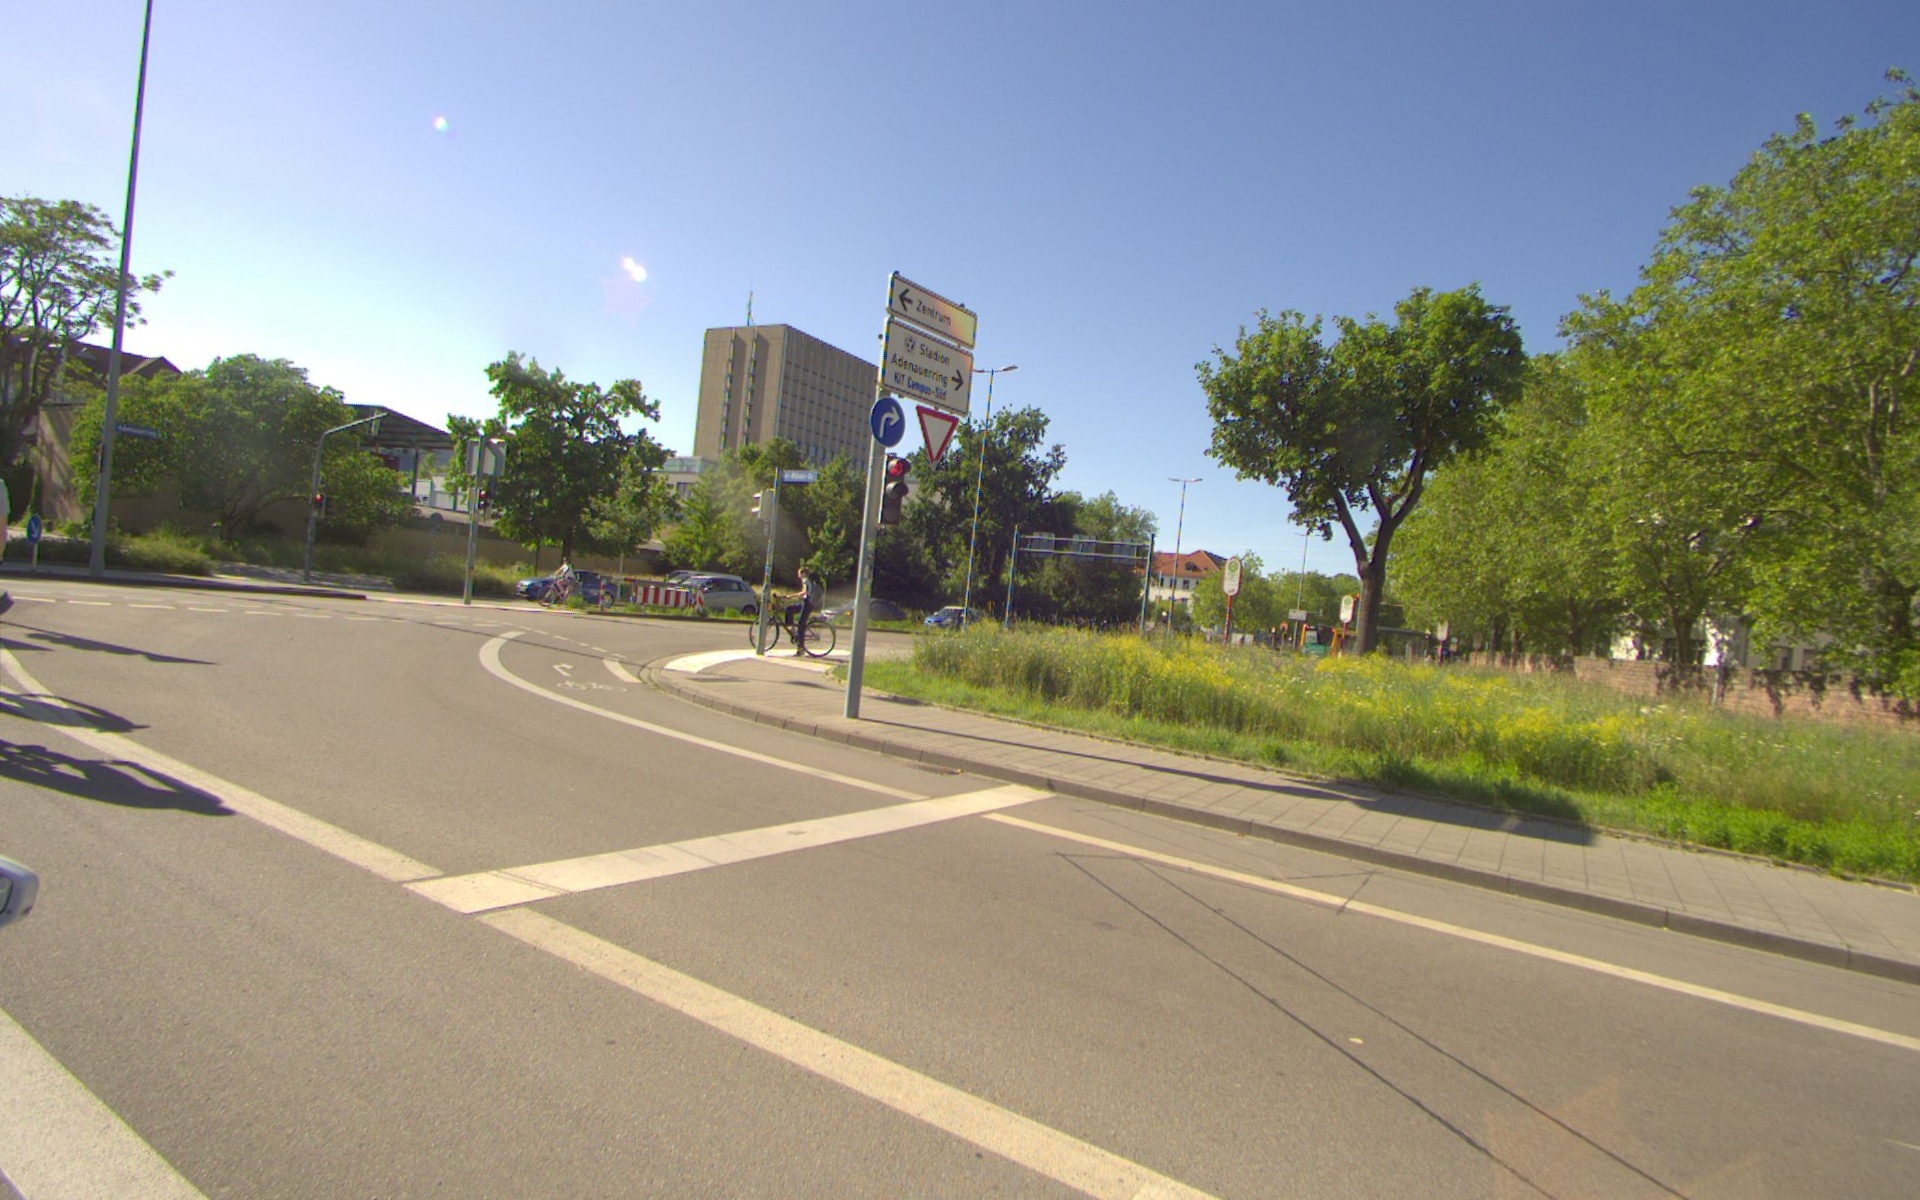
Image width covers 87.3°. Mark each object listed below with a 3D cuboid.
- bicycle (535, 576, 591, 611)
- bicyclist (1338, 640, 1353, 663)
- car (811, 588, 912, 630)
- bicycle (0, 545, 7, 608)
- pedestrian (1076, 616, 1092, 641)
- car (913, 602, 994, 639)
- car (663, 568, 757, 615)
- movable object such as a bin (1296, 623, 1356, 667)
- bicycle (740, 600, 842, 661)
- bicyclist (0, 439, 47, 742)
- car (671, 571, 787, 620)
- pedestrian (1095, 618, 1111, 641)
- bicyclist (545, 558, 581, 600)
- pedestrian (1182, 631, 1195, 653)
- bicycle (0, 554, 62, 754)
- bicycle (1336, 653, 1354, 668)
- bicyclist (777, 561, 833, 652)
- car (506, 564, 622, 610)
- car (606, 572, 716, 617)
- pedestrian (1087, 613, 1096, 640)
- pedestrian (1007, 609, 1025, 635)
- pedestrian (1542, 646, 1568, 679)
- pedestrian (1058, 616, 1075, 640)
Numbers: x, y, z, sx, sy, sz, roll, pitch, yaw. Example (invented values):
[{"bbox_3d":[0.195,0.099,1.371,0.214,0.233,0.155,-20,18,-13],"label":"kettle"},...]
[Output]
[{"bbox_3d":[-13.934,-0.229,35.361,0.602,1.046,1.681,7,0,37],"label":"bicycle"},{"bbox_3d":[27.030,3.637,70.547,0.509,1.548,1.067,7,2,39],"label":"bicyclist"},{"bbox_3d":[-4.307,0.432,44.632,1.767,1.415,4.557,7,0,37],"label":"car"},{"bbox_3d":[-8.188,0.023,7.753,1.890,1.102,0.690,6,-1,32],"label":"bicycle"},{"bbox_3d":[11.095,2.561,90.072,0.752,2.039,1.267,7,1,36],"label":"pedestrian"},{"bbox_3d":[-0.292,1.047,50.459,1.916,1.415,3.986,6,0,37],"label":"car"},{"bbox_3d":[-11.840,-0.370,47.798,1.767,1.771,3.986,7,0,37],"label":"car"},{"bbox_3d":[28.074,3.515,76.904,2.954,2.898,9.178,6,0,27],"label":"movable object such as a bin"},{"bbox_3d":[-3.289,0.590,19.679,1.856,0.970,0.635,7,1,-10],"label":"bicycle"},{"bbox_3d":[-6.318,-0.116,6.135,1.123,1.813,0.684,7,0,32],"label":"bicyclist"},{"bbox_3d":[-8.737,-0.133,38.291,1.767,1.415,3.986,7,0,37],"label":"car"},{"bbox_3d":[13.416,2.794,94.353,0.752,2.039,1.267,7,1,36],"label":"pedestrian"},{"bbox_3d":[-13.932,-0.725,35.284,0.602,1.360,0.874,7,1,37],"label":"bicyclist"},{"bbox_3d":[25.805,4.739,113.681,0.935,2.318,1.092,7,-1,24],"label":"pedestrian"},{"bbox_3d":[-6.313,0.234,6.114,1.890,1.102,0.690,6,-1,32],"label":"bicycle"},{"bbox_3d":[26.988,4.248,70.582,0.514,1.000,1.965,7,1,39],"label":"bicycle"},{"bbox_3d":[-3.035,0.123,19.707,0.898,1.667,0.630,6,1,-9],"label":"bicyclist"},{"bbox_3d":[-16.208,-0.528,41.320,1.767,1.415,3.986,7,0,37],"label":"car"},{"bbox_3d":[-12.297,-0.203,41.572,1.767,1.415,3.986,7,0,37],"label":"car"},{"bbox_3d":[12.409,2.515,94.774,0.401,2.451,0.467,6,-1,34],"label":"pedestrian"},{"bbox_3d":[4.647,1.827,83.823,0.752,2.039,1.267,7,1,36],"label":"pedestrian"},{"bbox_3d":[27.431,2.872,46.398,0.712,1.460,0.523,7,-1,2],"label":"pedestrian"},{"bbox_3d":[9.580,2.513,90.546,0.752,2.039,1.267,7,1,36],"label":"pedestrian"}]
